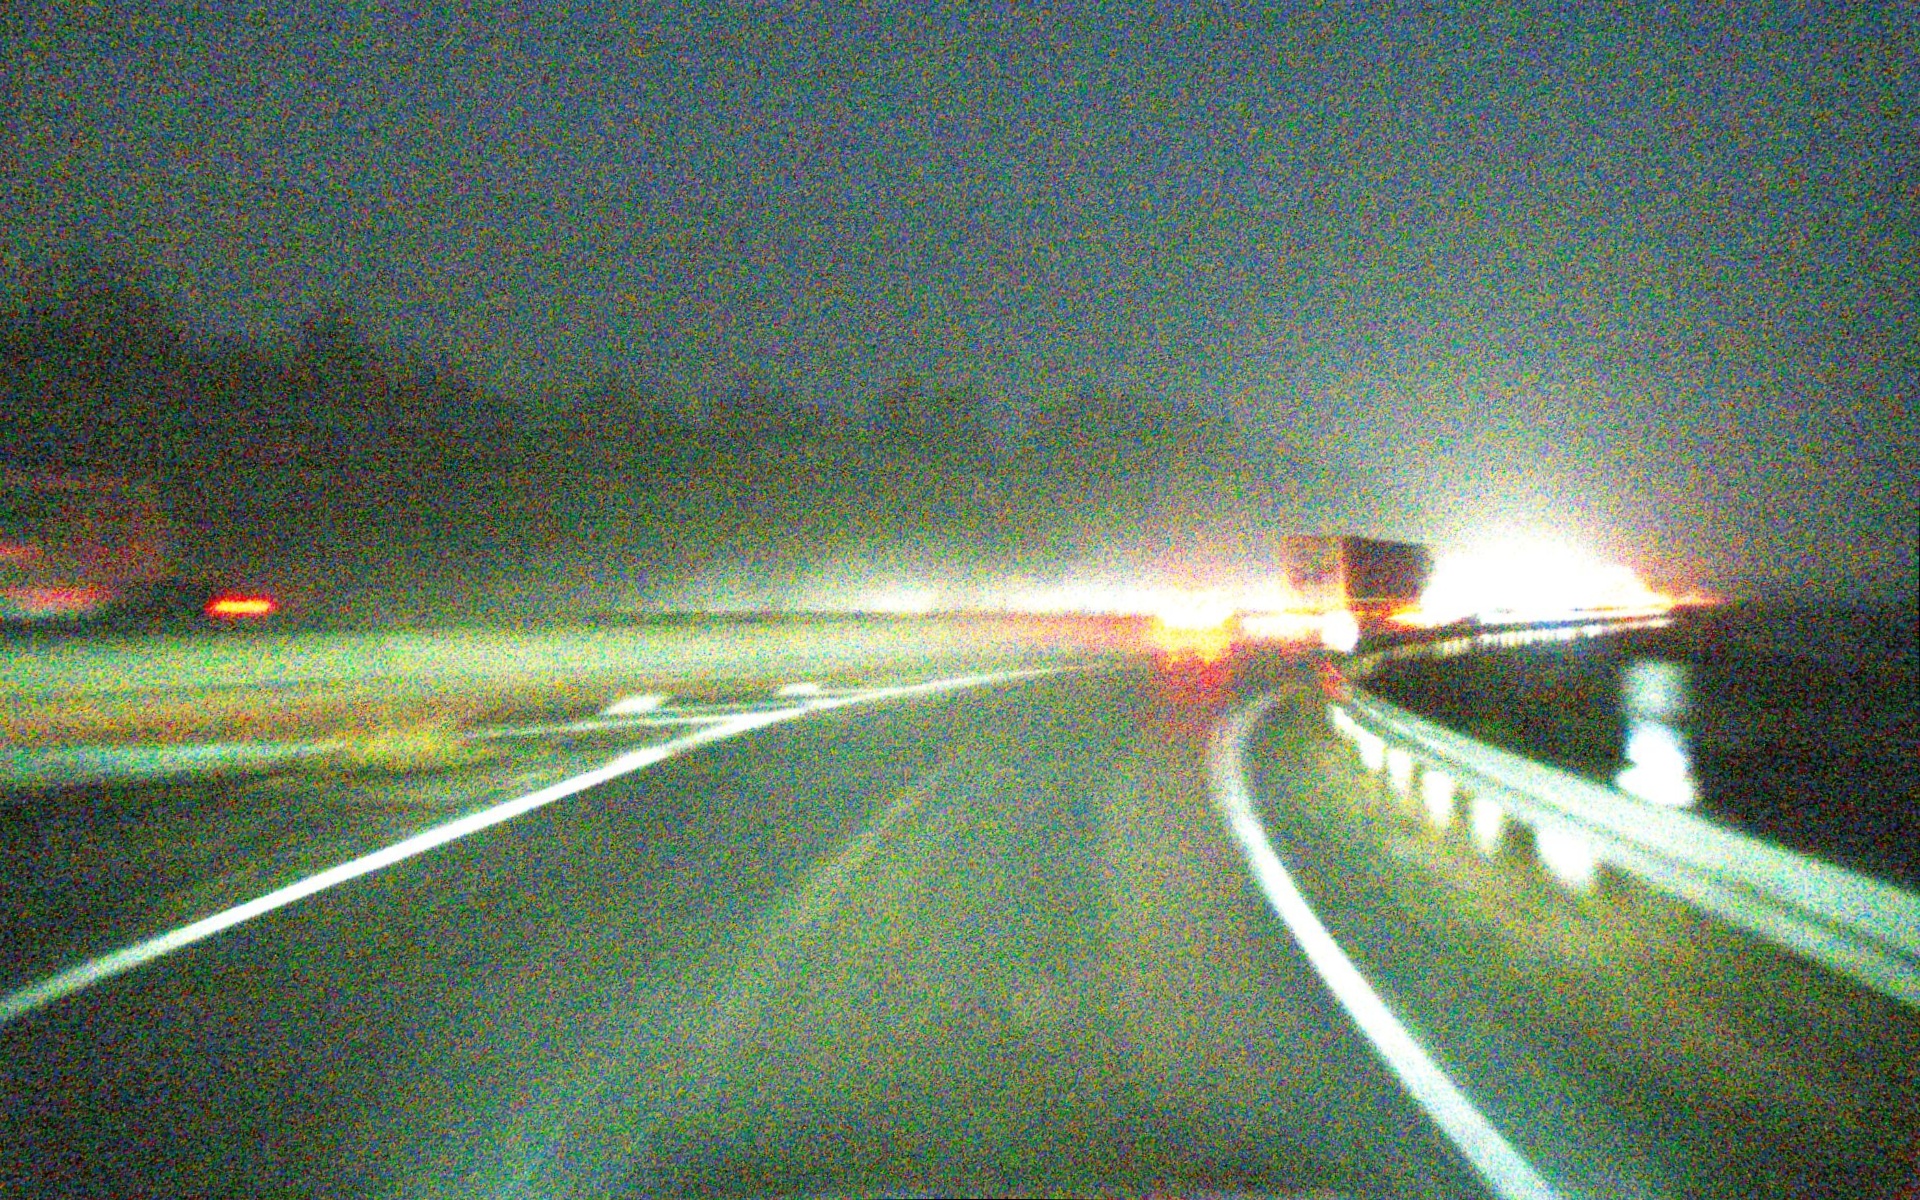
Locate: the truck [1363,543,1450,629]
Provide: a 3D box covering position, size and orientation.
[{"bbox_3d":[20.751,-0.621,76.677,2.539,3.775,5.449,3,1,29],"label":"truck"}]

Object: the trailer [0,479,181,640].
[{"bbox_3d":[-25.003,-1.040,37.772,2.604,3.795,13.912,3,1,31],"label":"trailer"}]

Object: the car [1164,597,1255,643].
[{"bbox_3d":[9.752,0.791,64.414,1.959,1.646,3.987,3,1,34],"label":"car"}]

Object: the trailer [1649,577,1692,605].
[{"bbox_3d":[76.536,-0.928,177.974,2.638,2.746,12.829,3,1,30],"label":"trailer"}]

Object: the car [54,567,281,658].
[{"bbox_3d":[-17.140,0.270,35.935,1.957,1.802,3.991,3,1,31],"label":"car"}]

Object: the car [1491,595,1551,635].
[{"bbox_3d":[27.580,0.740,81.275,1.957,1.850,3.992,3,1,30],"label":"car"}]

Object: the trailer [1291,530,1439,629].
[{"bbox_3d":[17.606,-0.728,70.962,2.543,3.790,13.628,3,1,29],"label":"trailer"}]

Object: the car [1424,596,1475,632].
[{"bbox_3d":[30.033,0.870,101.438,1.958,2.048,3.990,3,1,31],"label":"car"}]
